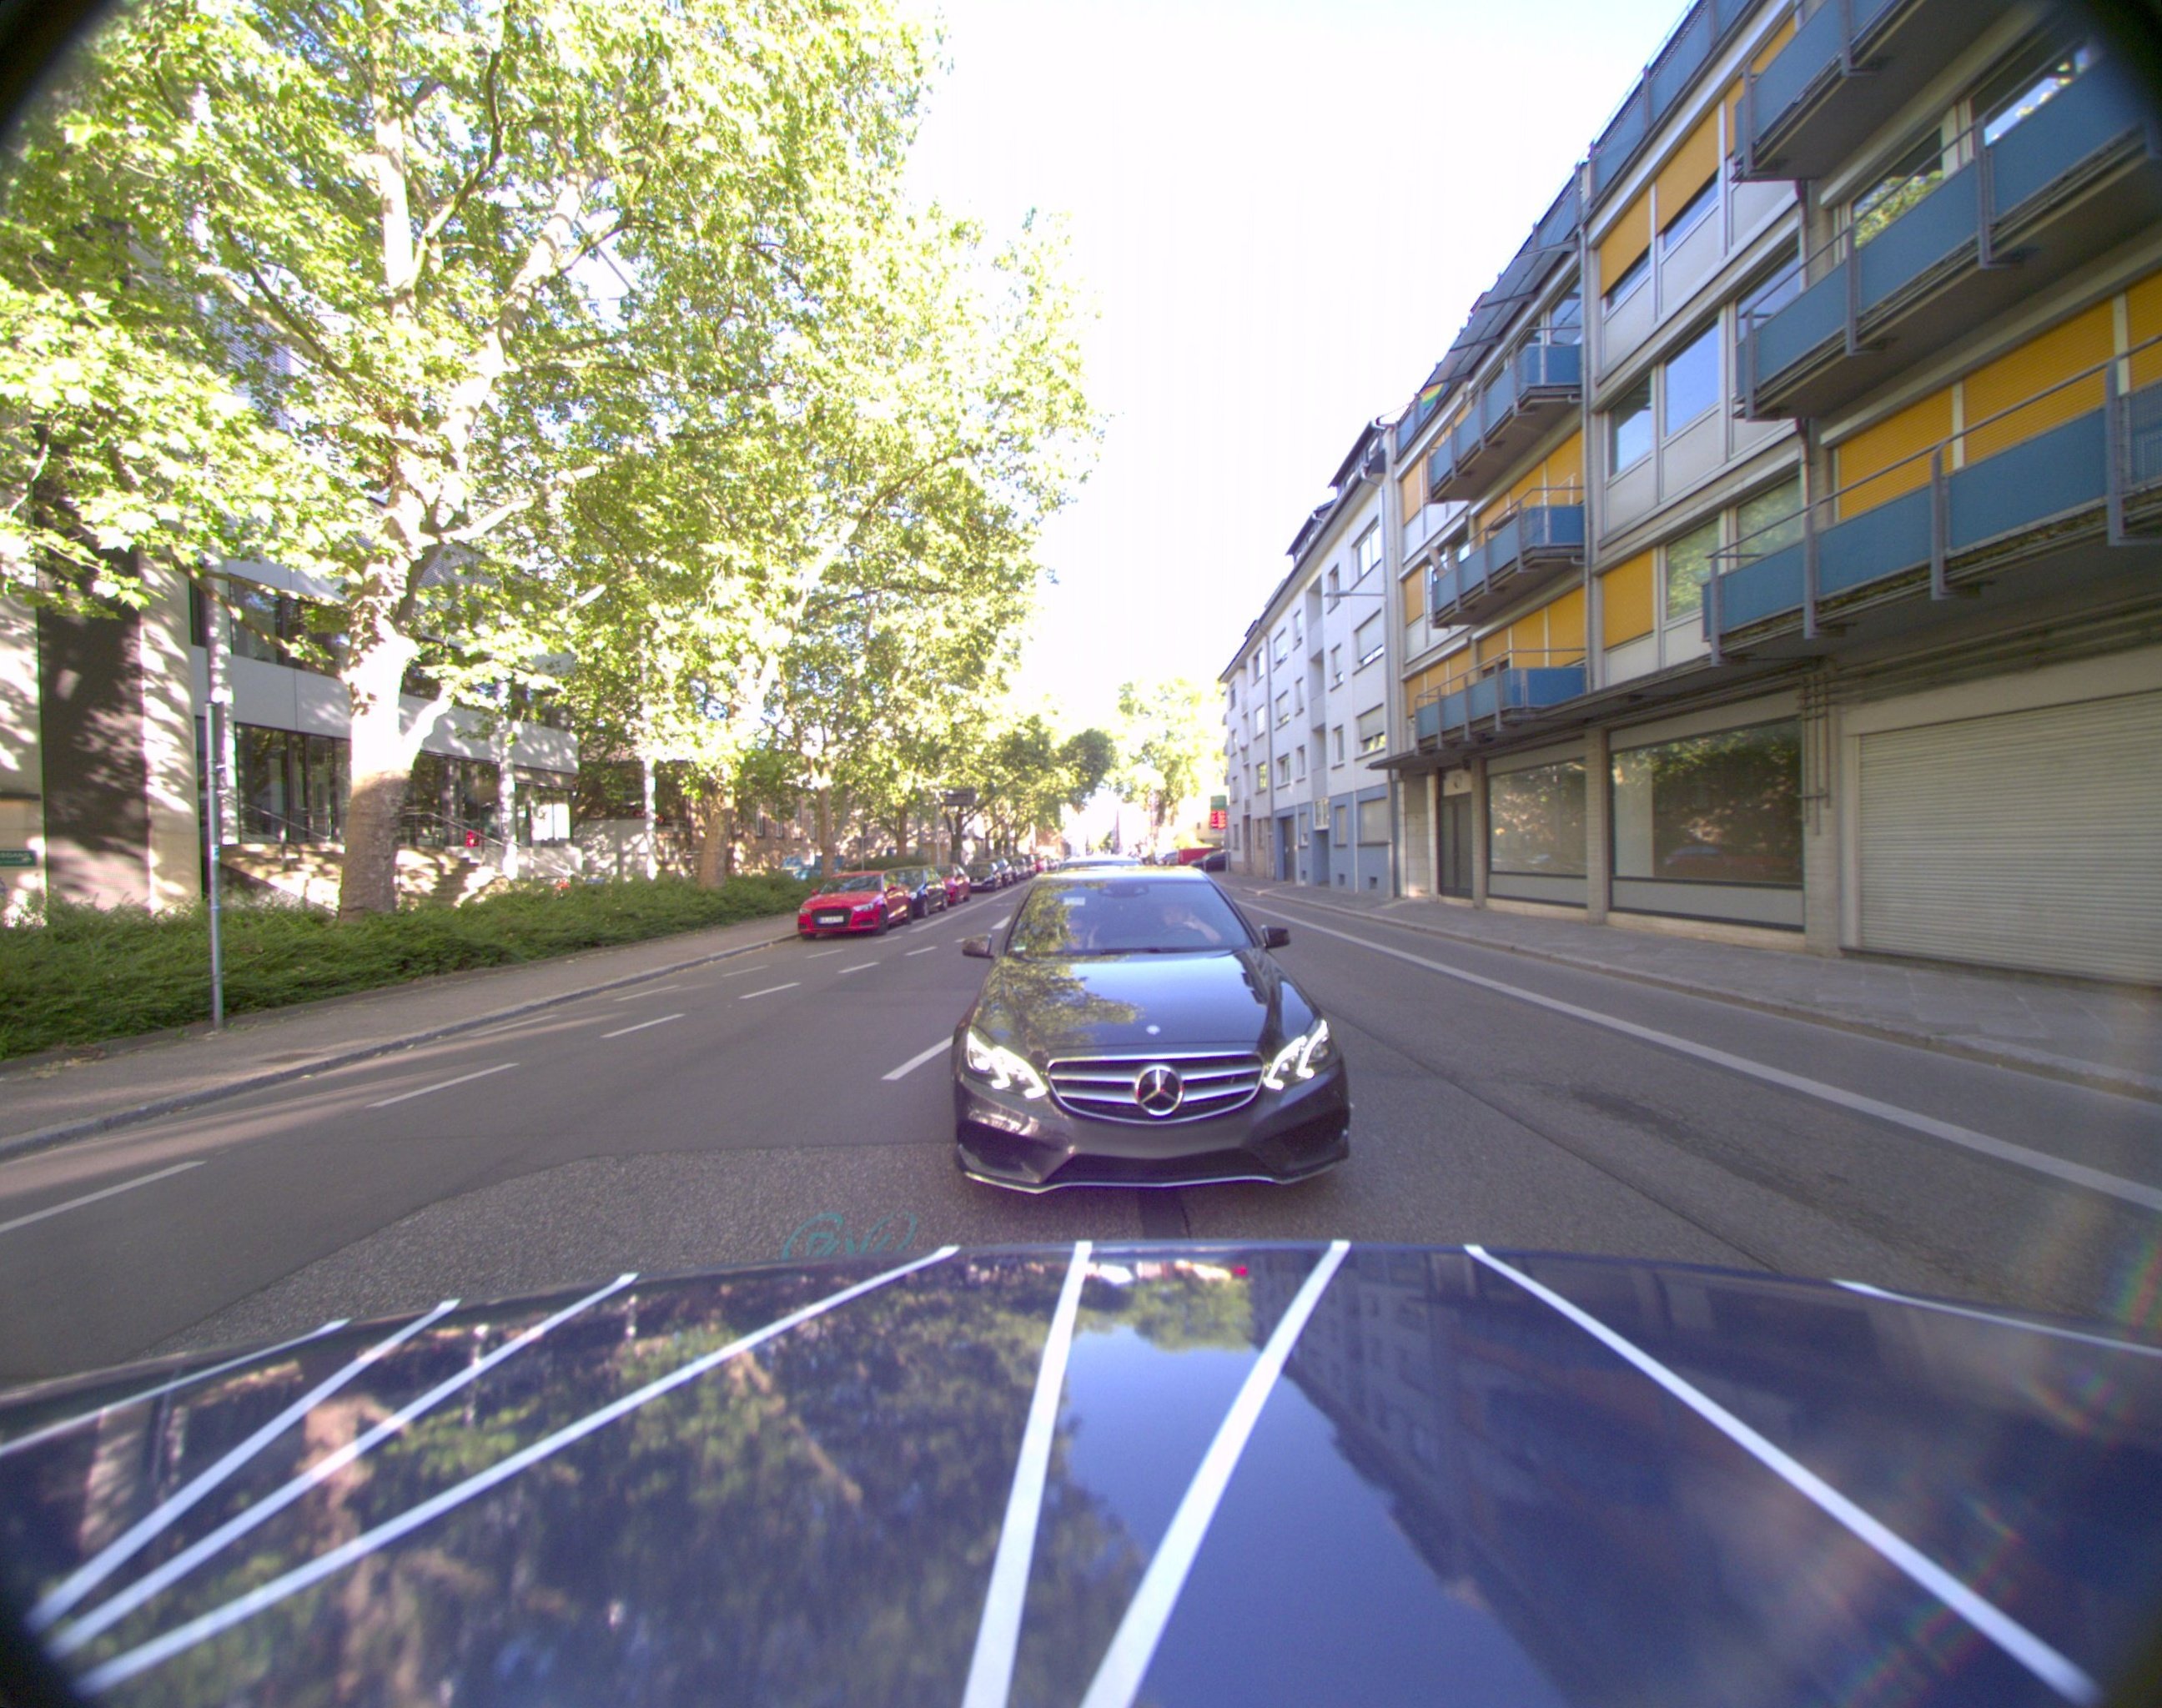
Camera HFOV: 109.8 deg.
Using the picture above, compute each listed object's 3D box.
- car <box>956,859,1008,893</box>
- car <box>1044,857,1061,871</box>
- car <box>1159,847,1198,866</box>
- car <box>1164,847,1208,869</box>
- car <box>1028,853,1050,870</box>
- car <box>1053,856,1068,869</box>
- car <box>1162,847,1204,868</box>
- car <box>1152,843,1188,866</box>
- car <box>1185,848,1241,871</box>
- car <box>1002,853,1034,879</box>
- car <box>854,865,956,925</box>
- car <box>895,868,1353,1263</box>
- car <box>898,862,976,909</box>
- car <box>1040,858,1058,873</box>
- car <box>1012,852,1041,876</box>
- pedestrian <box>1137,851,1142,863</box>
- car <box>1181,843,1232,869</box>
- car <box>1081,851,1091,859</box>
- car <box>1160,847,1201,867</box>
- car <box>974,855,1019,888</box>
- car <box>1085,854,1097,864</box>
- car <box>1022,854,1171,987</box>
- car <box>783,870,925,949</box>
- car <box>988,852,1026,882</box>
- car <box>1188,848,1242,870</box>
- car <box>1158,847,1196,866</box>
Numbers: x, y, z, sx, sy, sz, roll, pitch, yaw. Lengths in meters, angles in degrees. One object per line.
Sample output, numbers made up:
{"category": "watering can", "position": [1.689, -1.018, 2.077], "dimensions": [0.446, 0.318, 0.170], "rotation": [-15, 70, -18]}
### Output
{"category": "car", "position": [-4.750, 1.025, 37.179], "dimensions": [1.866, 1.442, 4.481], "rotation": [-2, 0, 1]}
{"category": "car", "position": [-3.650, 1.240, 96.791], "dimensions": [1.866, 1.632, 4.481], "rotation": [-2, 0, 1]}
{"category": "car", "position": [10.595, 0.275, 82.493], "dimensions": [3.996, 1.936, 2.000], "rotation": [-2, 1, 2]}
{"category": "car", "position": [10.253, 0.377, 74.513], "dimensions": [3.996, 1.936, 2.000], "rotation": [-2, 1, 2]}
{"category": "car", "position": [-4.194, 0.707, 76.286], "dimensions": [1.866, 1.632, 4.481], "rotation": [-2, 0, 1]}
{"category": "car", "position": [-2.818, 1.115, 105.198], "dimensions": [1.866, 1.632, 4.481], "rotation": [-2, 0, 1]}
{"category": "car", "position": [10.337, 0.345, 77.154], "dimensions": [3.996, 1.936, 2.000], "rotation": [-2, 1, 2]}
{"category": "car", "position": [10.494, 0.004, 89.515], "dimensions": [3.996, 2.505, 2.000], "rotation": [-2, 1, 2]}
{"category": "car", "position": [10.180, 0.423, 58.878], "dimensions": [3.996, 1.543, 2.000], "rotation": [-2, 1, 2]}
{"category": "car", "position": [-4.497, 0.820, 54.807], "dimensions": [1.866, 1.749, 4.481], "rotation": [-2, 0, 1]}
{"category": "car", "position": [-5.037, 1.123, 22.389], "dimensions": [1.866, 1.442, 4.481], "rotation": [-2, 0, 1]}
{"category": "car", "position": [0.211, 0.930, 5.415], "dimensions": [1.866, 1.492, 4.481], "rotation": [-2, 0, 1]}
{"category": "car", "position": [-5.081, 1.065, 27.433], "dimensions": [1.866, 1.442, 4.481], "rotation": [-2, 0, 1]}
{"category": "car", "position": [-3.760, 1.324, 89.992], "dimensions": [1.866, 1.632, 4.481], "rotation": [-2, 0, 1]}
{"category": "car", "position": [-4.240, 0.757, 59.763], "dimensions": [1.866, 1.749, 4.481], "rotation": [-2, 0, 1]}
{"category": "pedestrian", "position": [9.546, 0.488, 123.592], "dimensions": [0.735, 2.002, 1.046], "rotation": [-2, 1, -1]}
{"category": "car", "position": [10.553, 0.154, 64.032], "dimensions": [3.996, 1.936, 2.000], "rotation": [-2, 1, 2]}
{"category": "car", "position": [0.992, 0.190, 149.612], "dimensions": [1.866, 1.632, 4.481], "rotation": [-2, 0, 1]}
{"category": "car", "position": [10.465, 0.308, 80.005], "dimensions": [3.996, 1.936, 2.000], "rotation": [-2, 1, 2]}
{"category": "car", "position": [-4.615, 0.908, 42.214], "dimensions": [1.866, 1.658, 4.481], "rotation": [-2, 0, 1]}
{"category": "car", "position": [1.652, 0.783, 123.475], "dimensions": [1.866, 1.632, 4.481], "rotation": [-2, 0, 1]}
{"category": "car", "position": [0.231, 0.856, 11.938], "dimensions": [1.866, 1.630, 4.303], "rotation": [-2, 0, 1]}
{"category": "car", "position": [-5.098, 1.177, 17.738], "dimensions": [1.866, 1.442, 4.481], "rotation": [-2, 0, 1]}
{"category": "car", "position": [-4.627, 0.785, 48.141], "dimensions": [1.866, 1.749, 4.481], "rotation": [-2, 0, 1]}
{"category": "car", "position": [10.721, 0.376, 61.200], "dimensions": [3.996, 1.543, 2.000], "rotation": [-2, 1, 2]}
{"category": "car", "position": [10.740, 0.242, 84.987], "dimensions": [3.996, 1.936, 2.000], "rotation": [-2, 1, 2]}
